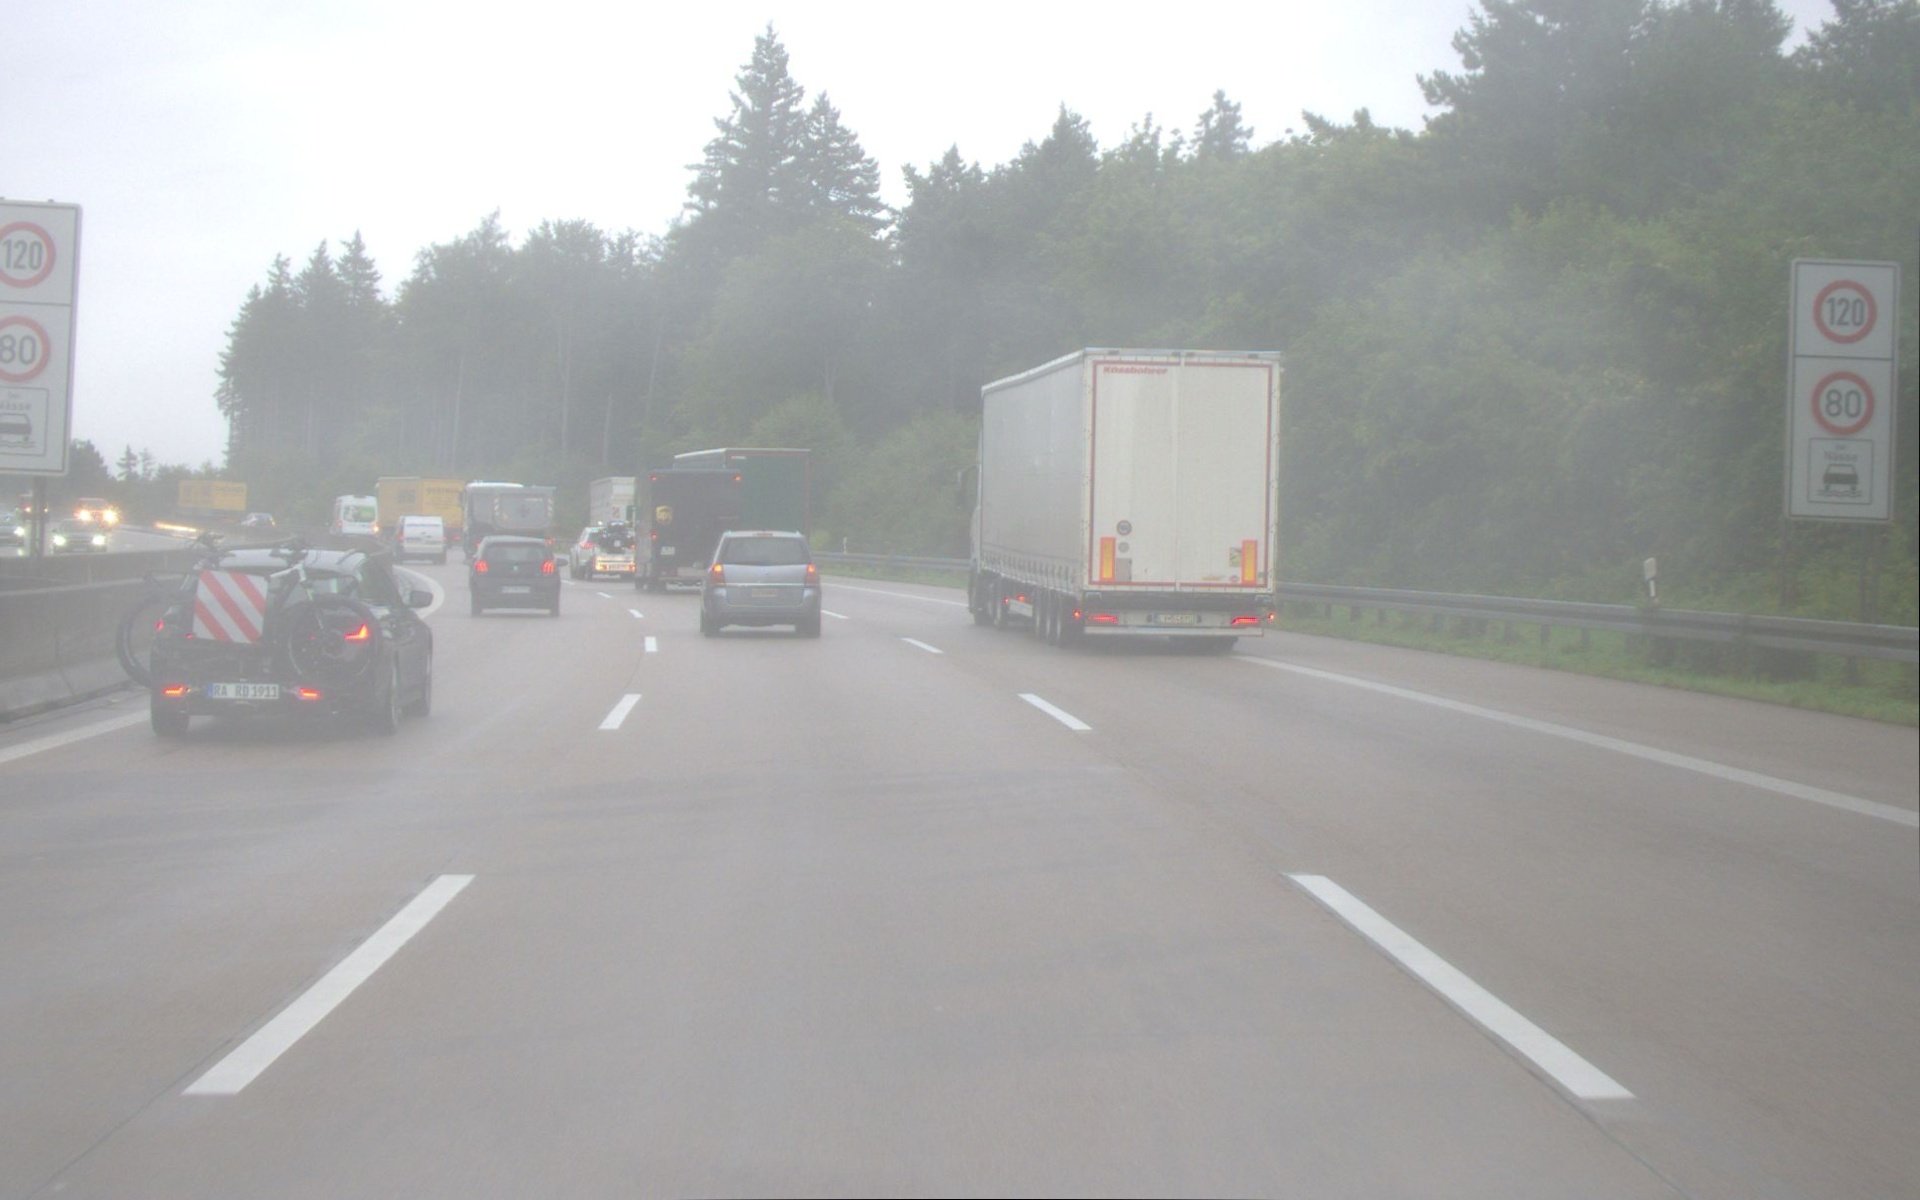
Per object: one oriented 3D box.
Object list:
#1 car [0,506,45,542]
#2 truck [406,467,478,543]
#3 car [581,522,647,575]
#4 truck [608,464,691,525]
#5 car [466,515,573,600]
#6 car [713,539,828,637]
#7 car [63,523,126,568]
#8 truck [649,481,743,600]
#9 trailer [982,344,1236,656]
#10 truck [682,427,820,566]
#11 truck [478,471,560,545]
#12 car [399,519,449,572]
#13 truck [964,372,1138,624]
[{"bbox_3d":[-43.919,-3.555,160.536,1.776,1.633,4.255,0,1,-7],"label":"car"},{"bbox_3d":[-29.781,-5.414,197.449,3.739,4.195,6.820,0,1,-12],"label":"truck"},{"bbox_3d":[-10.388,-1.559,103.448,1.881,1.468,4.001,2,1,-5],"label":"car"},{"bbox_3d":[-12.716,-4.295,140.467,2.974,2.301,6.669,2,1,-8],"label":"truck"},{"bbox_3d":[-8.090,-0.805,63.337,1.683,1.457,3.684,2,1,-4],"label":"car"},{"bbox_3d":[-2.851,-0.211,52.325,1.553,1.347,3.684,2,1,-1],"label":"car"},{"bbox_3d":[-32.165,-2.025,127.821,1.776,1.633,4.001,0,1,-7],"label":"car"},{"bbox_3d":[-6.827,-1.587,88.301,2.269,2.877,7.905,1,2,-5],"label":"truck"},{"bbox_3d":[1.986,-1.451,50.998,2.419,4.054,12.057,1,1,-4],"label":"trailer"},{"bbox_3d":[-6.657,-3.227,107.790,3.368,4.117,10.440,0,1,-9],"label":"truck"},{"bbox_3d":[-18.090,-3.819,140.760,3.082,2.895,7.906,1,2,-9],"label":"truck"},{"bbox_3d":[-20.564,-2.087,131.921,1.725,2.007,3.657,0,1,-6],"label":"car"},{"bbox_3d":[1.473,-1.713,58.248,2.419,4.054,4.979,1,1,-4],"label":"truck"}]
